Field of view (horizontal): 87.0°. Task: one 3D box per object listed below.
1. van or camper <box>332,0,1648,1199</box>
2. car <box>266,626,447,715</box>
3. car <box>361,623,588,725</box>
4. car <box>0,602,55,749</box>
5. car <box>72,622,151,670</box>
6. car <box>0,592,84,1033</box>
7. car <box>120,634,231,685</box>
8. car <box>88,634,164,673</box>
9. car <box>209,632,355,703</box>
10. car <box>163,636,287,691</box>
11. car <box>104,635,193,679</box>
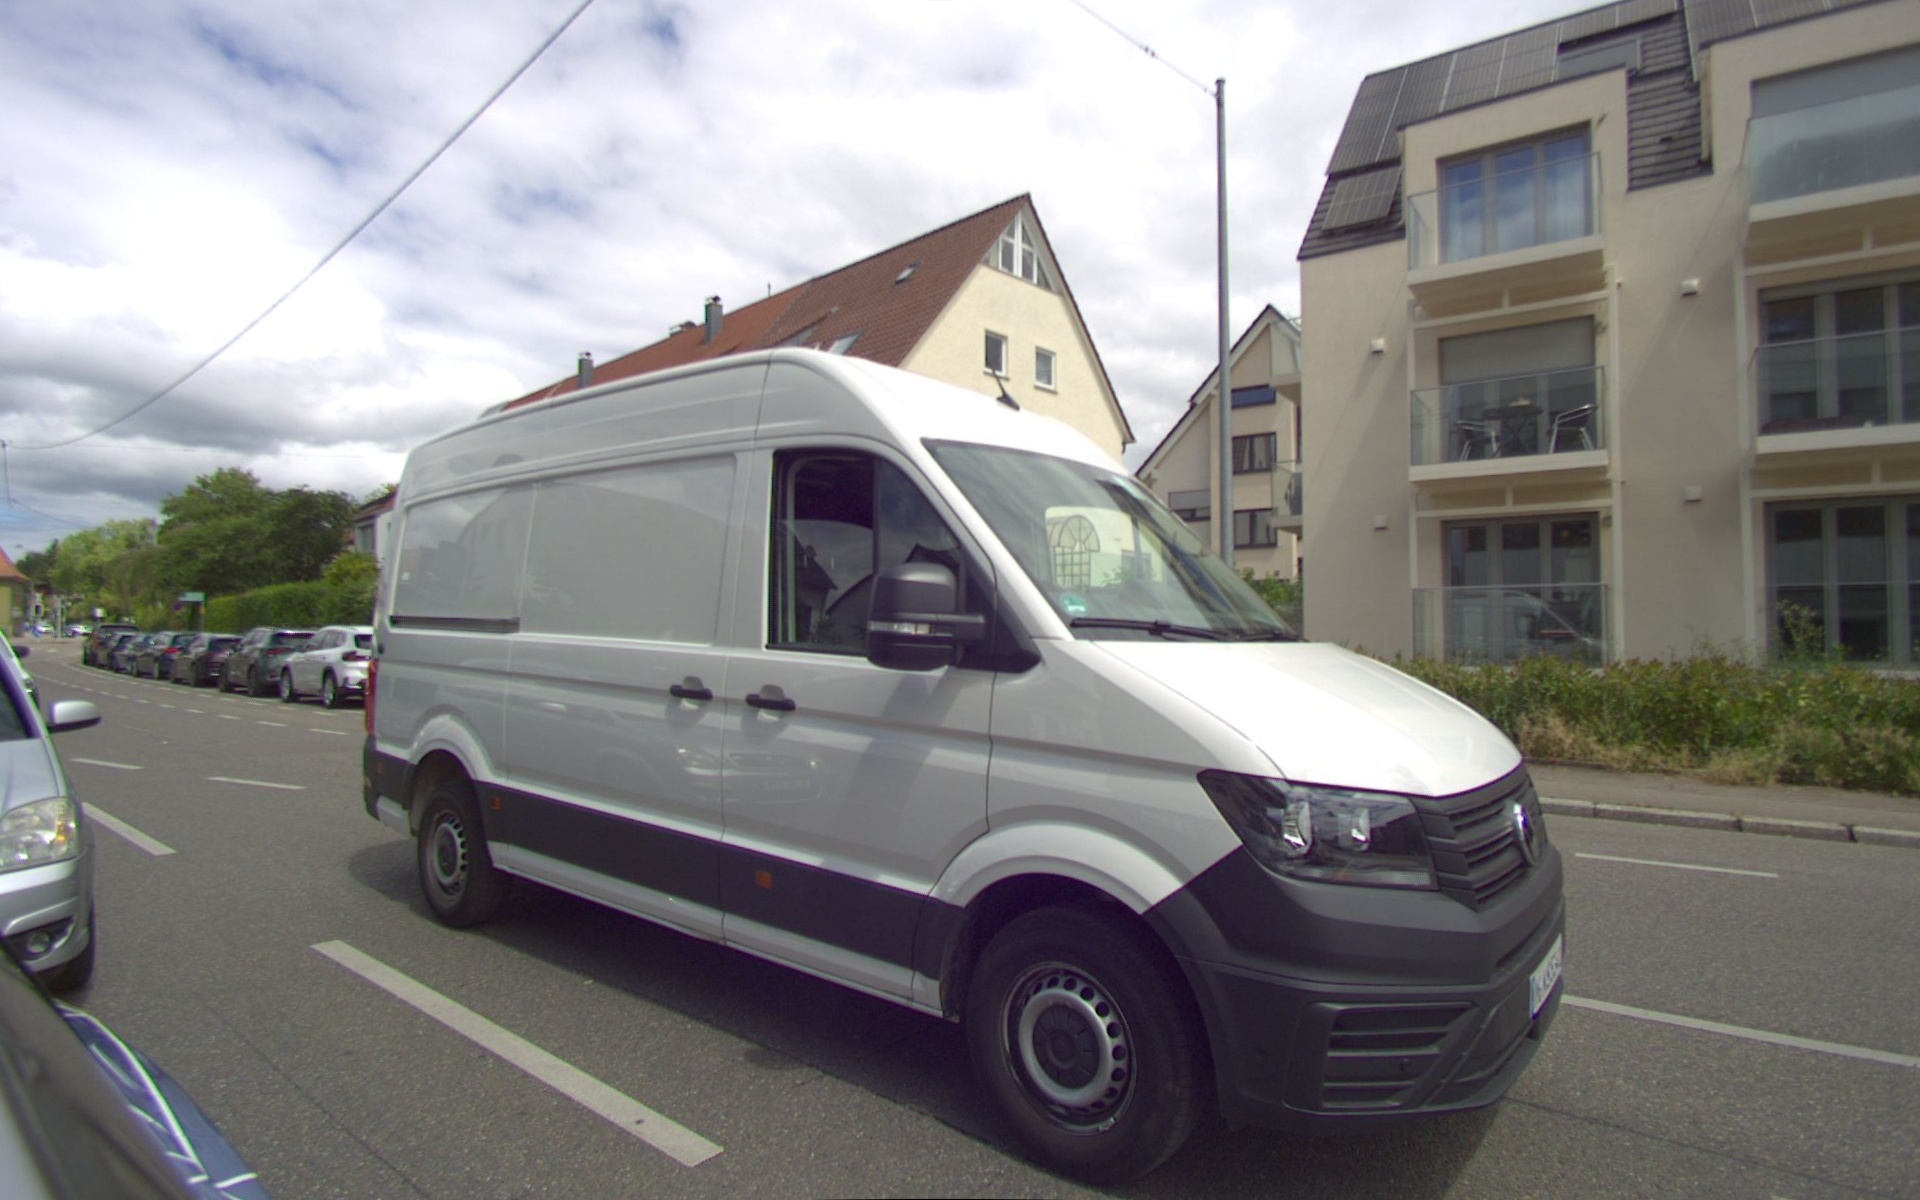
[{"bbox_3d":[-0.600,0.223,4.581,5.916,2.600,2.005,-3,-2,39],"label":"van or camper"},{"bbox_3d":[-12.739,1.400,21.246,4.515,1.663,1.972,-1,-3,41],"label":"car"},{"bbox_3d":[-8.783,1.240,18.155,4.485,1.599,1.973,-1,-3,40],"label":"car"},{"bbox_3d":[-13.635,0.939,13.146,4.177,1.784,1.762,-1,-2,33],"label":"car"},{"bbox_3d":[-36.354,1.944,43.315,5.405,1.909,1.971,-2,-5,44],"label":"car"},{"bbox_3d":[-5.352,0.795,4.657,4.332,1.552,1.684,-2,-1,45],"label":"car"},{"bbox_3d":[-24.931,1.834,32.108,4.561,1.503,1.760,-1,-3,39],"label":"car"},{"bbox_3d":[-32.609,2.053,39.524,4.340,1.428,1.758,-2,-3,44],"label":"car"},{"bbox_3d":[-16.739,1.574,24.891,4.690,1.576,1.971,-2,-3,43],"label":"car"},{"bbox_3d":[-20.808,1.732,28.577,4.690,1.419,1.971,-2,-3,43],"label":"car"},{"bbox_3d":[-28.787,1.983,35.845,4.439,1.428,1.759,-1,-3,42],"label":"car"}]
